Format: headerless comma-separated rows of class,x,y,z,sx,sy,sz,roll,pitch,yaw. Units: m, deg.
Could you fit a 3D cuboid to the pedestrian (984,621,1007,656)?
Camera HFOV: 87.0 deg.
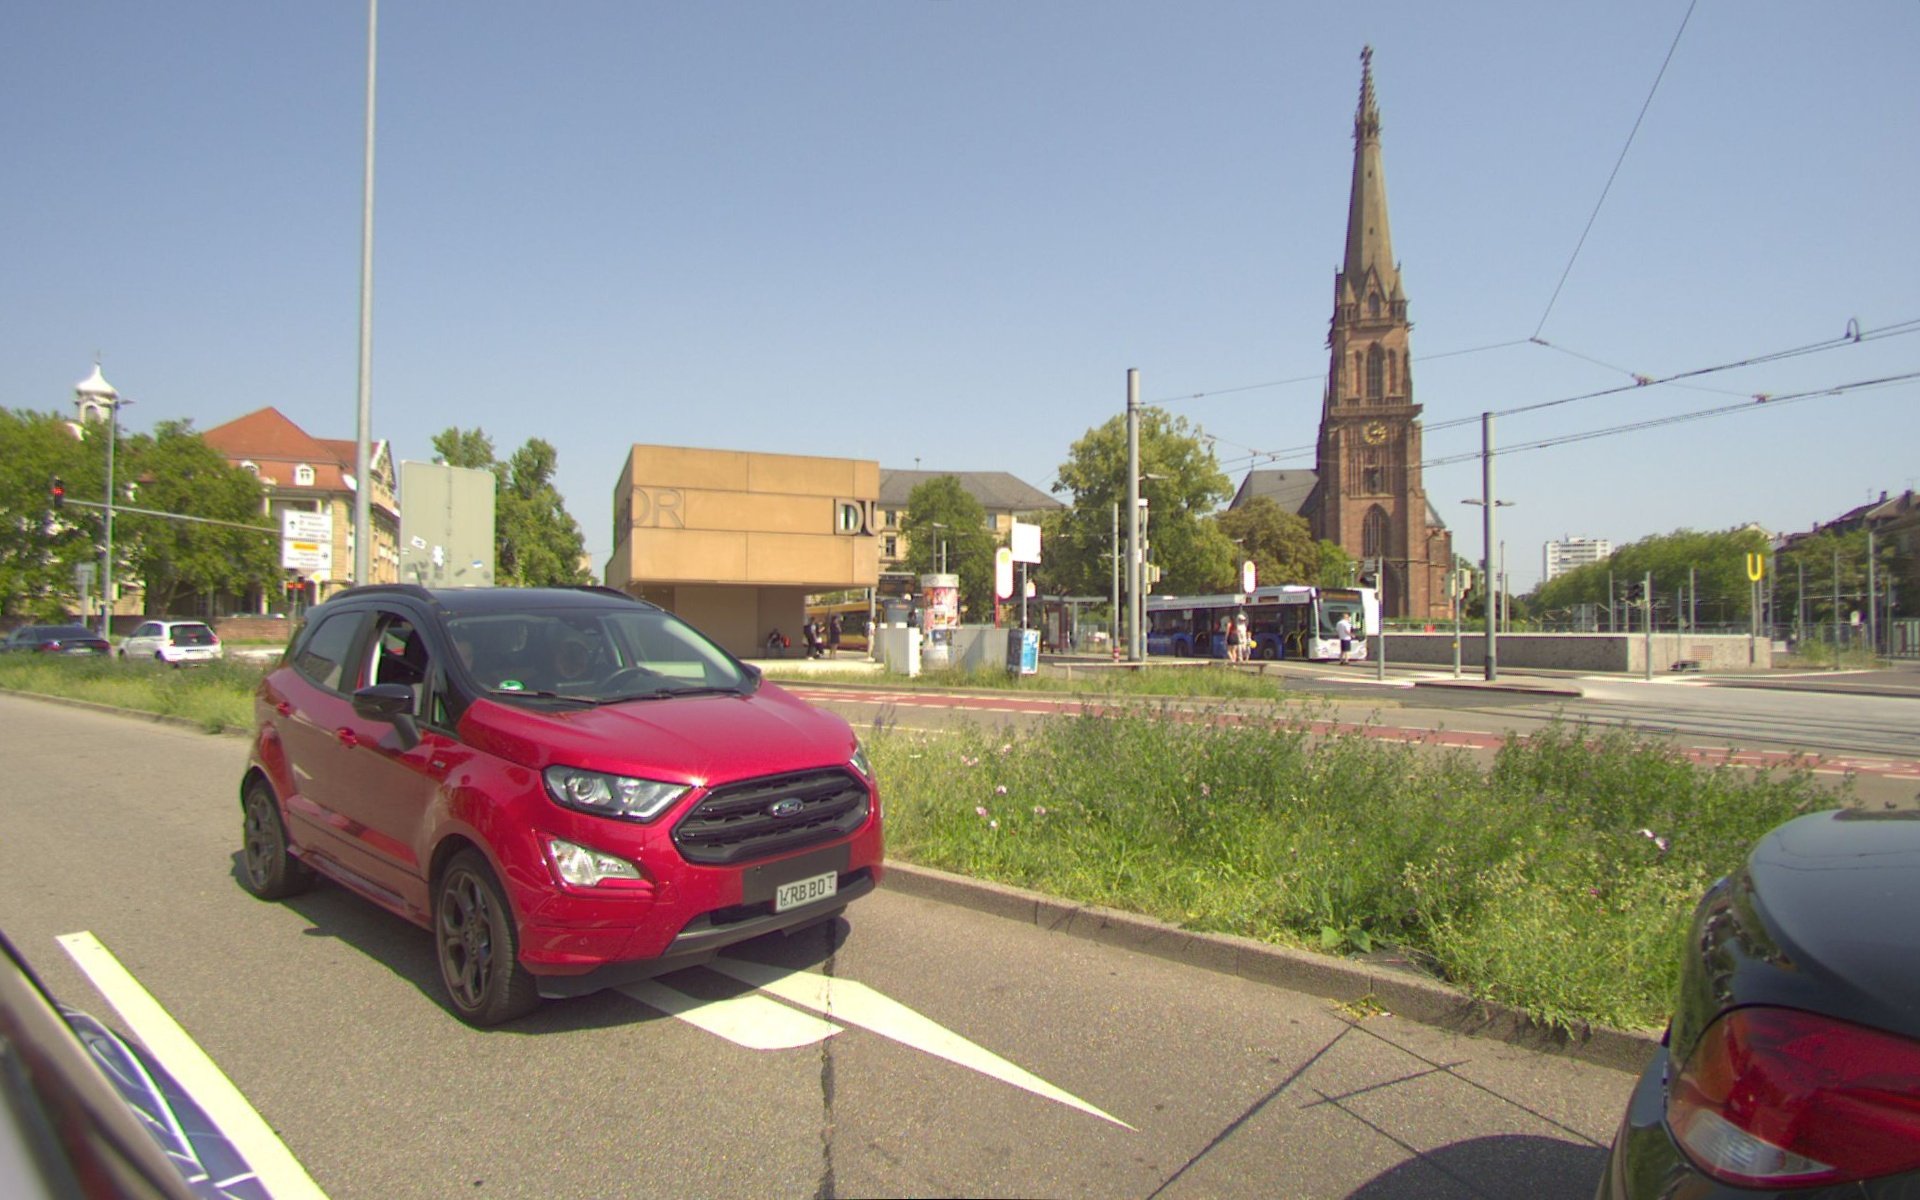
pedestrian,1.907,2.070,54.068,0.913,1.837,0.940,1,-2,-21

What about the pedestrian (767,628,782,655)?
pedestrian,-7.477,1.671,40.758,0.530,1.108,0.543,1,-2,-18

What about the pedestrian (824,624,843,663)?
pedestrian,-4.986,1.722,39.887,0.541,1.508,0.532,-1,-3,39

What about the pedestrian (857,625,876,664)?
pedestrian,-3.672,1.746,39.841,0.541,1.508,0.532,-1,-3,39

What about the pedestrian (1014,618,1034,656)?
pedestrian,3.137,1.810,49.555,0.792,1.837,0.535,1,-2,-21

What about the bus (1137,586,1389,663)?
bus,12.129,1.077,42.696,3.346,2.733,12.382,1,-2,-21

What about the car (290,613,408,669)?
car,-21.437,1.413,35.491,3.898,1.868,1.851,0,-2,29

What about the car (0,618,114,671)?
car,-25.706,1.248,28.784,3.466,1.437,1.510,-1,-2,32

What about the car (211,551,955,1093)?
car,-2.033,0.688,4.874,3.841,1.598,1.673,-1,-1,40

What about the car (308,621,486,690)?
car,-14.347,1.360,25.719,4.701,1.597,1.978,-1,-2,33

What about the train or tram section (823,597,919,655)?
train or tram section,-6.206,1.794,67.388,2.658,3.465,13.464,1,-2,-21

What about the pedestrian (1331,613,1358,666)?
pedestrian,13.420,1.377,35.308,0.592,1.825,0.640,-1,0,-37

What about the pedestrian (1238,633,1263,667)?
pedestrian,10.259,1.763,35.756,0.628,1.134,0.603,-1,0,-36

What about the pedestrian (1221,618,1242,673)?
pedestrian,9.073,1.514,33.841,0.632,1.825,0.599,-1,0,16

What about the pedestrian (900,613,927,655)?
pedestrian,-1.698,1.252,36.877,0.605,1.508,0.761,-1,-3,39

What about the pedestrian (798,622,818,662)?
pedestrian,-5.867,1.608,39.068,0.541,1.508,0.532,-1,-3,39

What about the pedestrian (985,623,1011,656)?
pedestrian,2.006,2.113,54.101,1.060,1.709,1.068,1,-2,-21

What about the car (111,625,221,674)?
car,-25.296,1.550,32.240,3.462,1.490,1.512,-1,-2,29

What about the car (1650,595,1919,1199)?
car,2.742,0.659,0.421,1.745,1.398,3.783,0,-1,-45

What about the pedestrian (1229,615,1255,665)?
pedestrian,9.798,1.384,35.198,0.681,1.724,0.538,1,-2,-32
